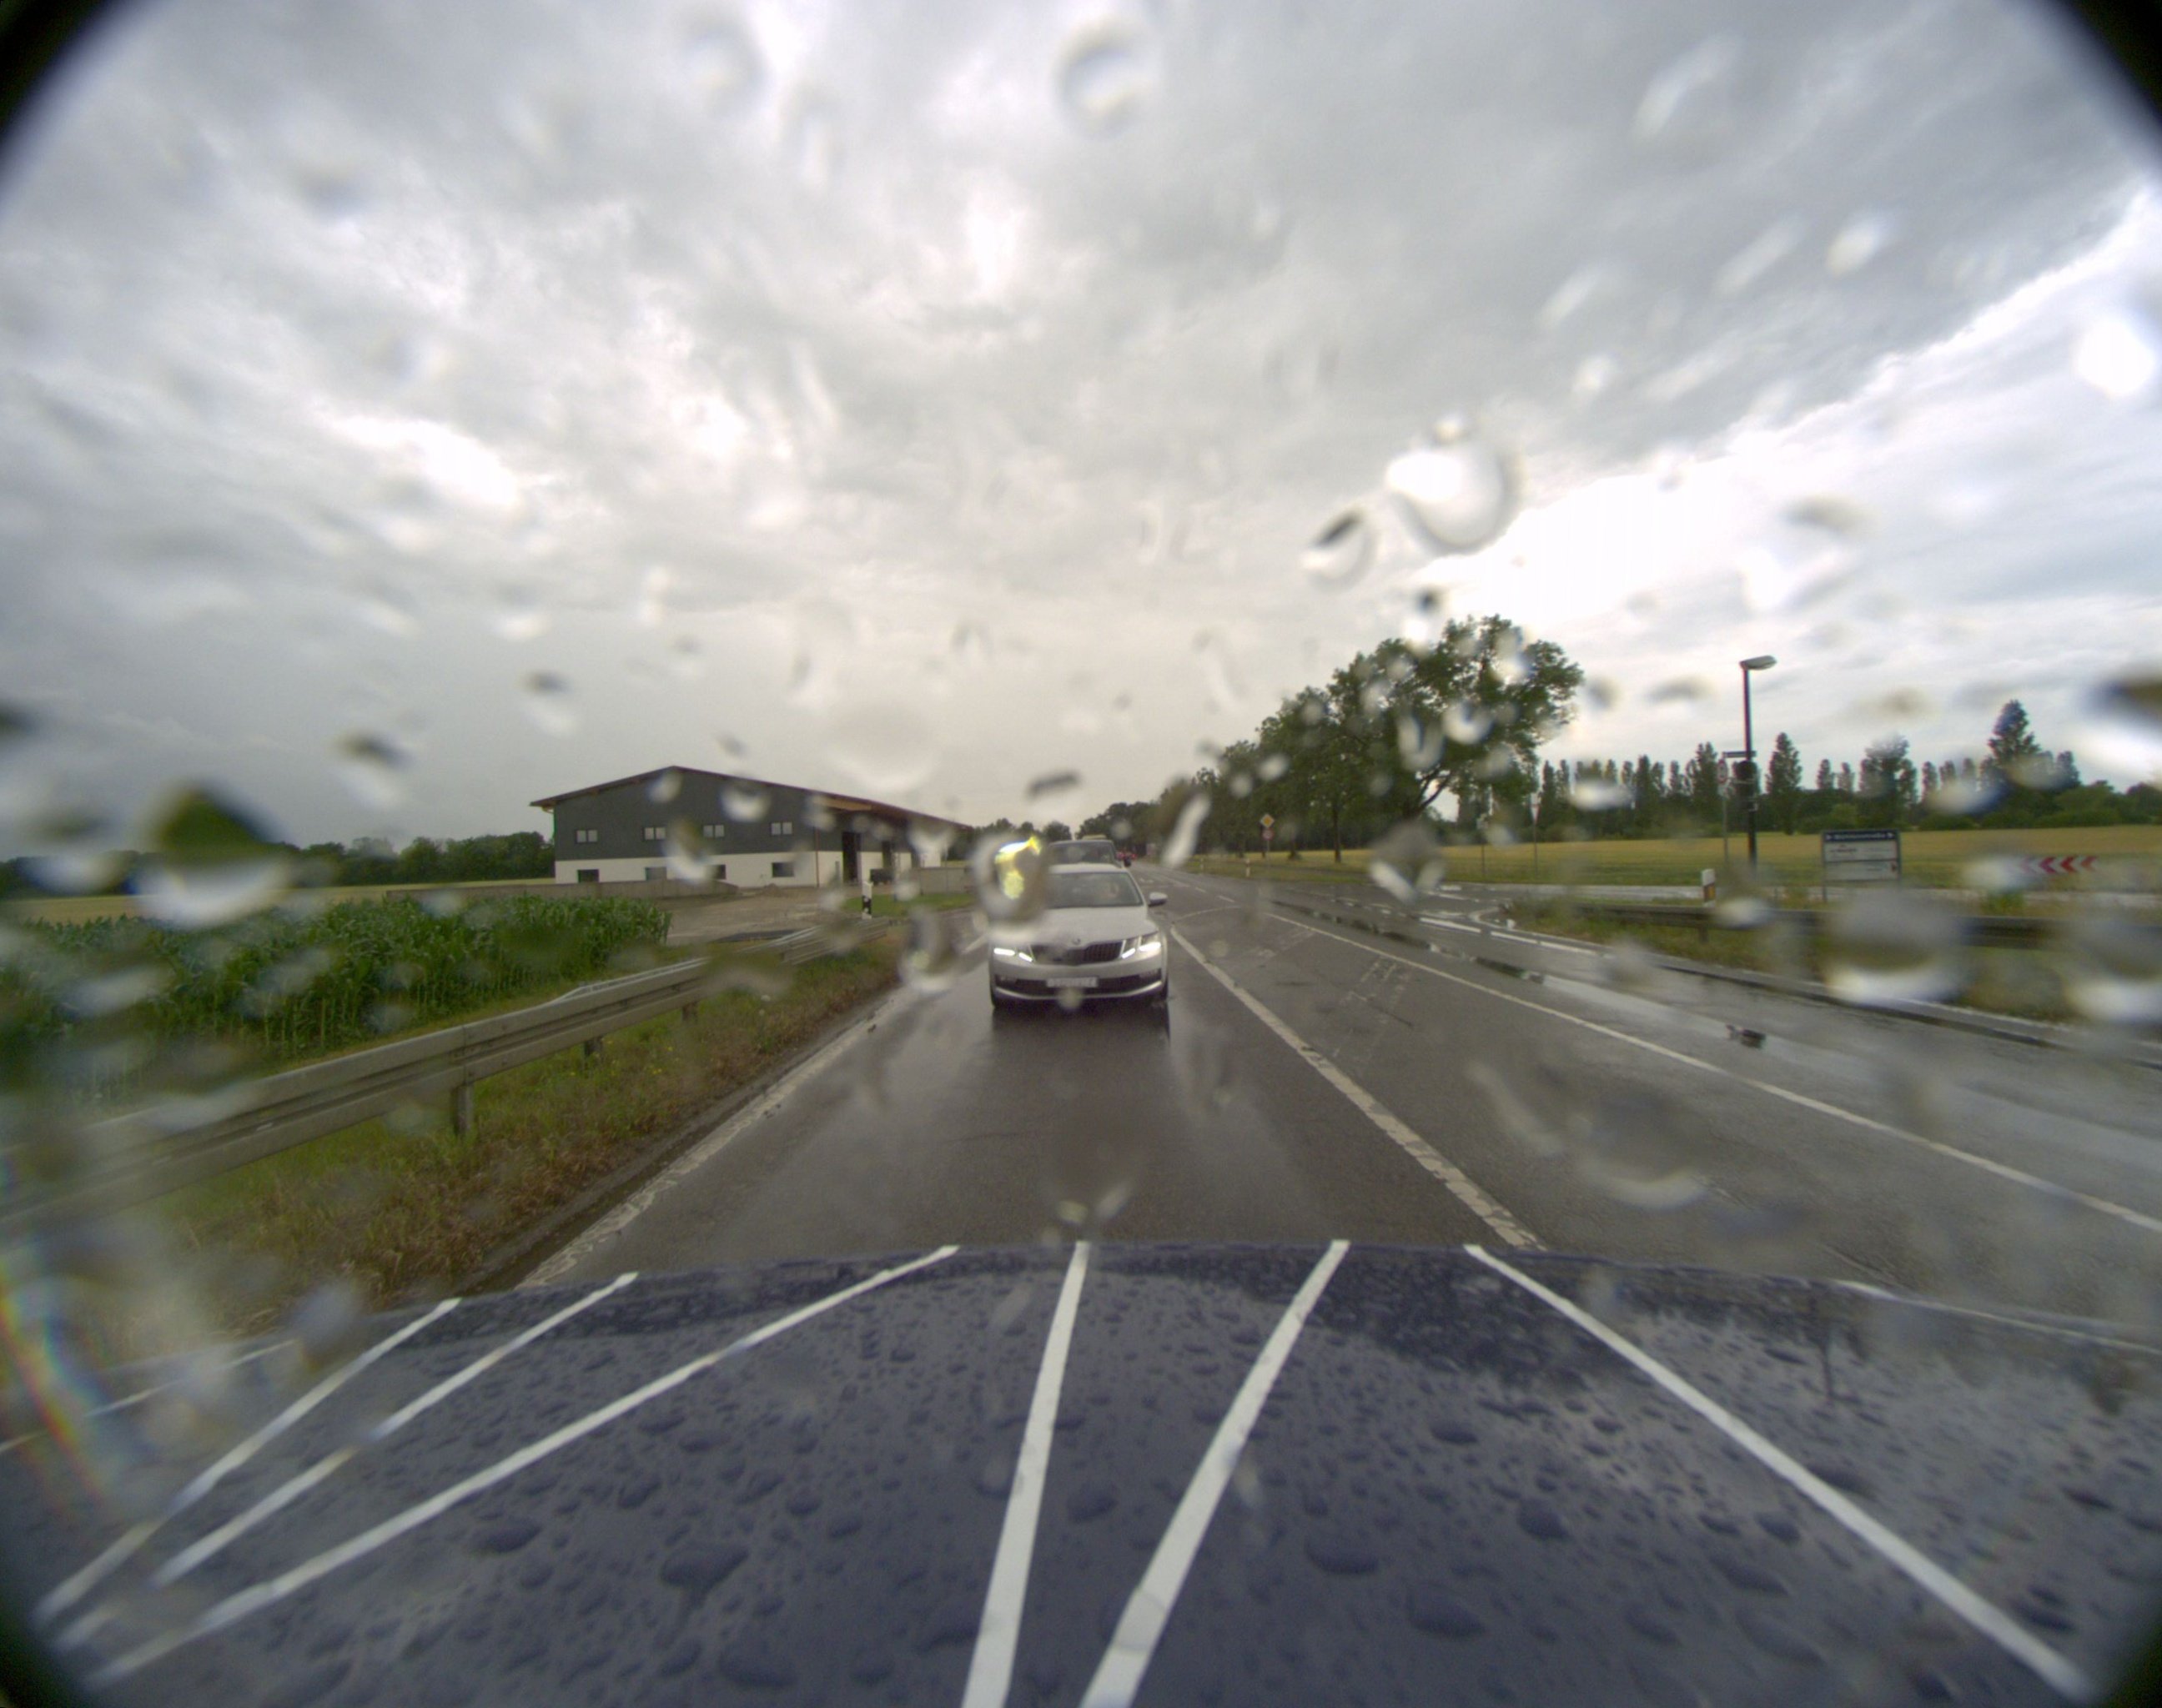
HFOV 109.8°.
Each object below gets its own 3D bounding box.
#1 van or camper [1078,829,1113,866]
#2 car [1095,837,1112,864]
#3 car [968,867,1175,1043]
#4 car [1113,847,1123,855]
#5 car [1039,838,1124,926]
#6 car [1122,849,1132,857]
[{"bbox_3d":[1.591,-0.676,79.720,3.342,3.624,8.373,-2,1,2],"label":"van or camper"},{"bbox_3d":[2.695,-0.455,91.704,1.771,3.134,4.028,-2,0,1],"label":"car"},{"bbox_3d":[-0.021,0.932,8.971,1.770,1.365,4.575,-2,0,2],"label":"car"},{"bbox_3d":[8.325,-0.649,171.581,1.949,1.571,4.443,-2,0,1],"label":"car"},{"bbox_3d":[0.076,0.604,19.196,1.841,1.888,4.575,-2,1,2],"label":"car"},{"bbox_3d":[8.535,-0.194,140.579,1.773,1.514,4.141,0,0,1],"label":"car"}]
